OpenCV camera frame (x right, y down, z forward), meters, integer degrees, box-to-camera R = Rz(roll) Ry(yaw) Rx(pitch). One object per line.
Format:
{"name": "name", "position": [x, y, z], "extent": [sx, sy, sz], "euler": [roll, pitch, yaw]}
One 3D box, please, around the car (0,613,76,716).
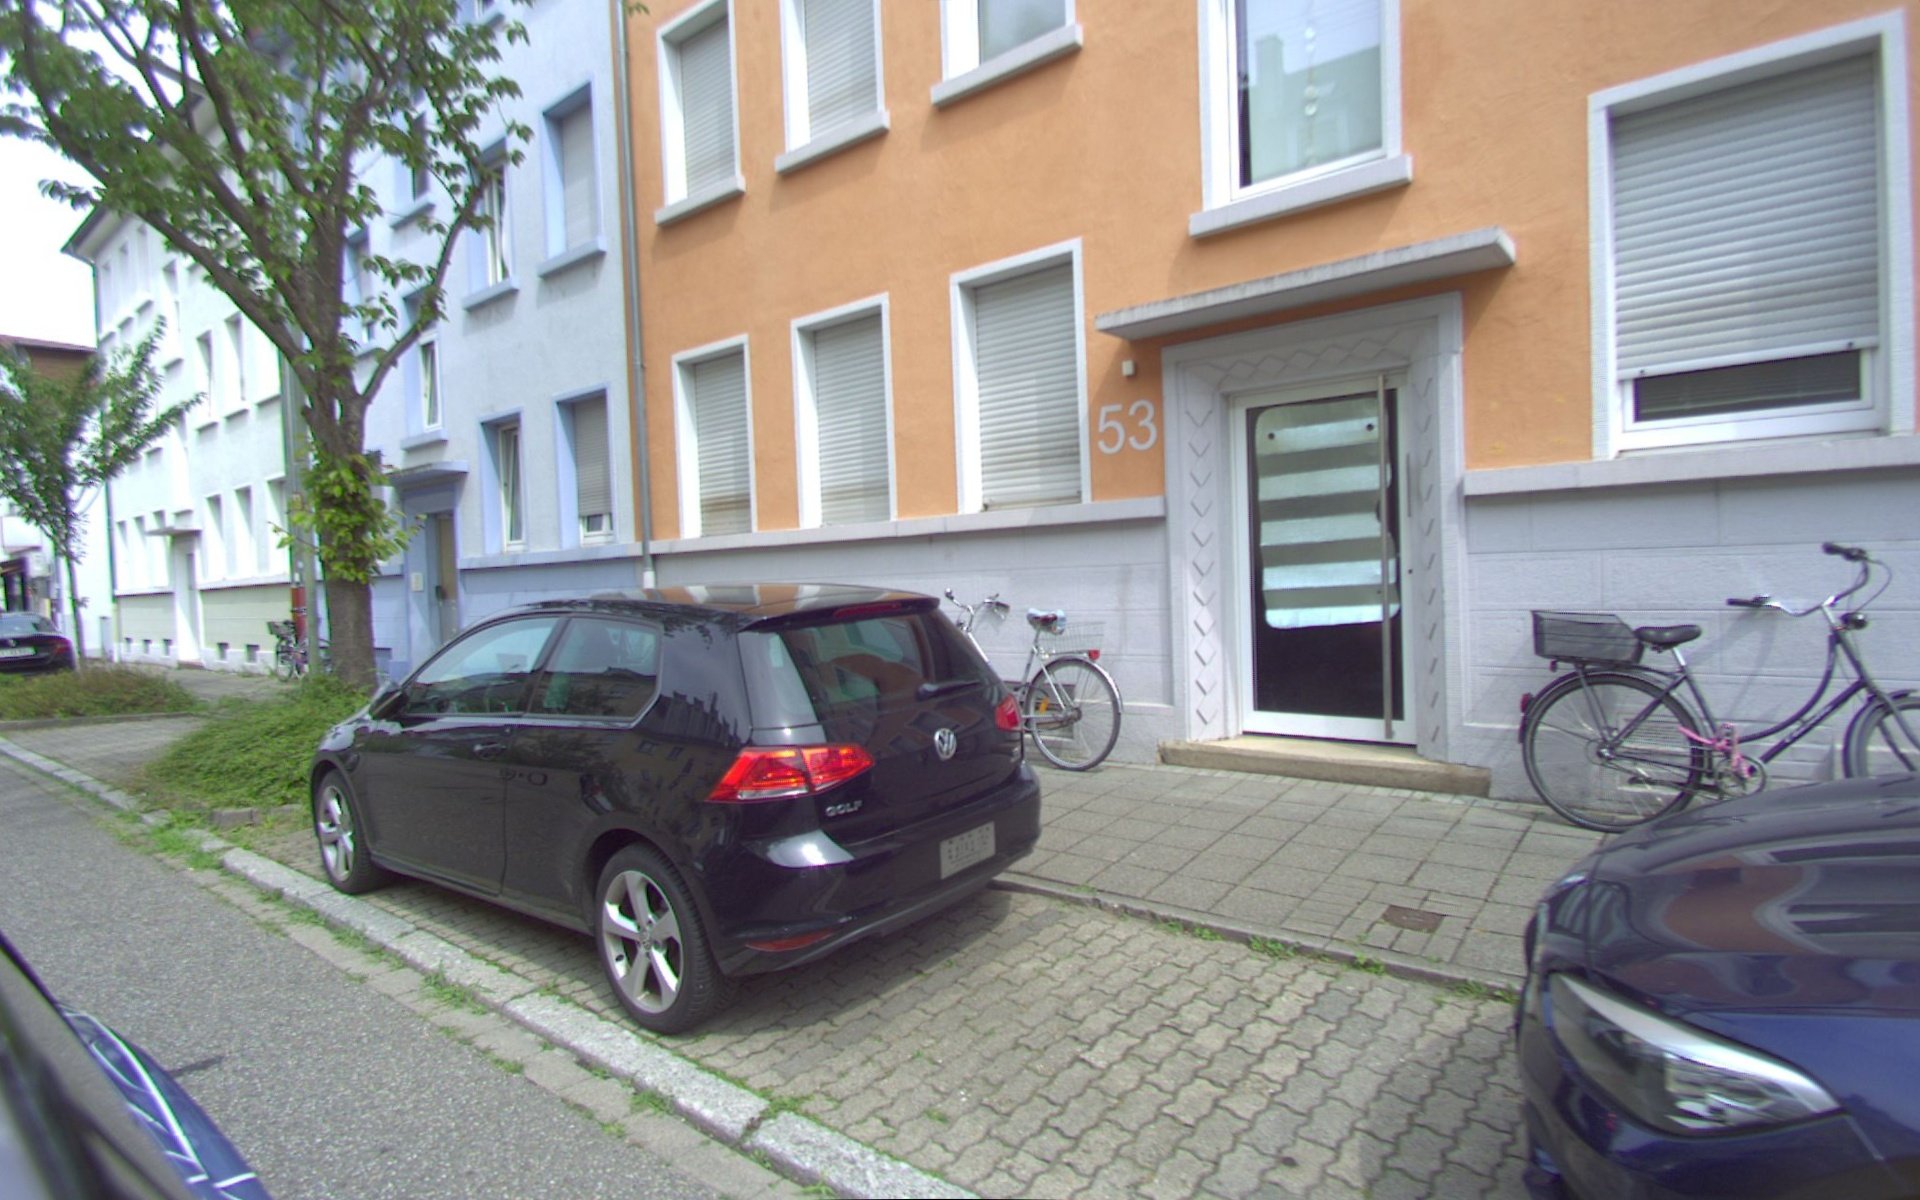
{"name": "car", "position": [-16.551, 1.057, 17.163], "extent": [4.246, 1.554, 1.685], "euler": [-1, 2, 41]}

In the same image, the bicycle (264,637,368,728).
{"name": "bicycle", "position": [-7.178, 0.892, 11.251], "extent": [1.537, 0.878, 0.410], "euler": [-1, 8, 40]}

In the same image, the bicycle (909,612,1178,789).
{"name": "bicycle", "position": [0.483, 0.589, 6.566], "extent": [1.866, 1.013, 0.363], "euler": [-1, -1, 40]}

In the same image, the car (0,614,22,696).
{"name": "car", "position": [-20.848, 1.142, 20.746], "extent": [4.243, 1.593, 1.677], "euler": [-1, 3, 38]}

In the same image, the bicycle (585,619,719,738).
{"name": "bicycle", "position": [-2.845, 0.678, 9.261], "extent": [1.568, 1.003, 0.363], "euler": [-1, 0, 40]}

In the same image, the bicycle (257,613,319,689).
{"name": "bicycle", "position": [-10.347, 0.757, 15.563], "extent": [1.537, 1.122, 0.363], "euler": [-1, -1, 40]}

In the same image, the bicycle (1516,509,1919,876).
{"name": "bicycle", "position": [3.341, 0.343, 4.142], "extent": [1.811, 1.344, 0.425], "euler": [-1, -1, 41]}

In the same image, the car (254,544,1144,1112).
{"name": "car", "position": [-1.429, 0.594, 4.671], "extent": [4.088, 1.495, 1.819], "euler": [-1, 3, 38]}

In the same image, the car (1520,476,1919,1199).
{"name": "car", "position": [3.006, 0.506, 0.939], "extent": [4.115, 1.494, 1.820], "euler": [-1, 4, 38]}
